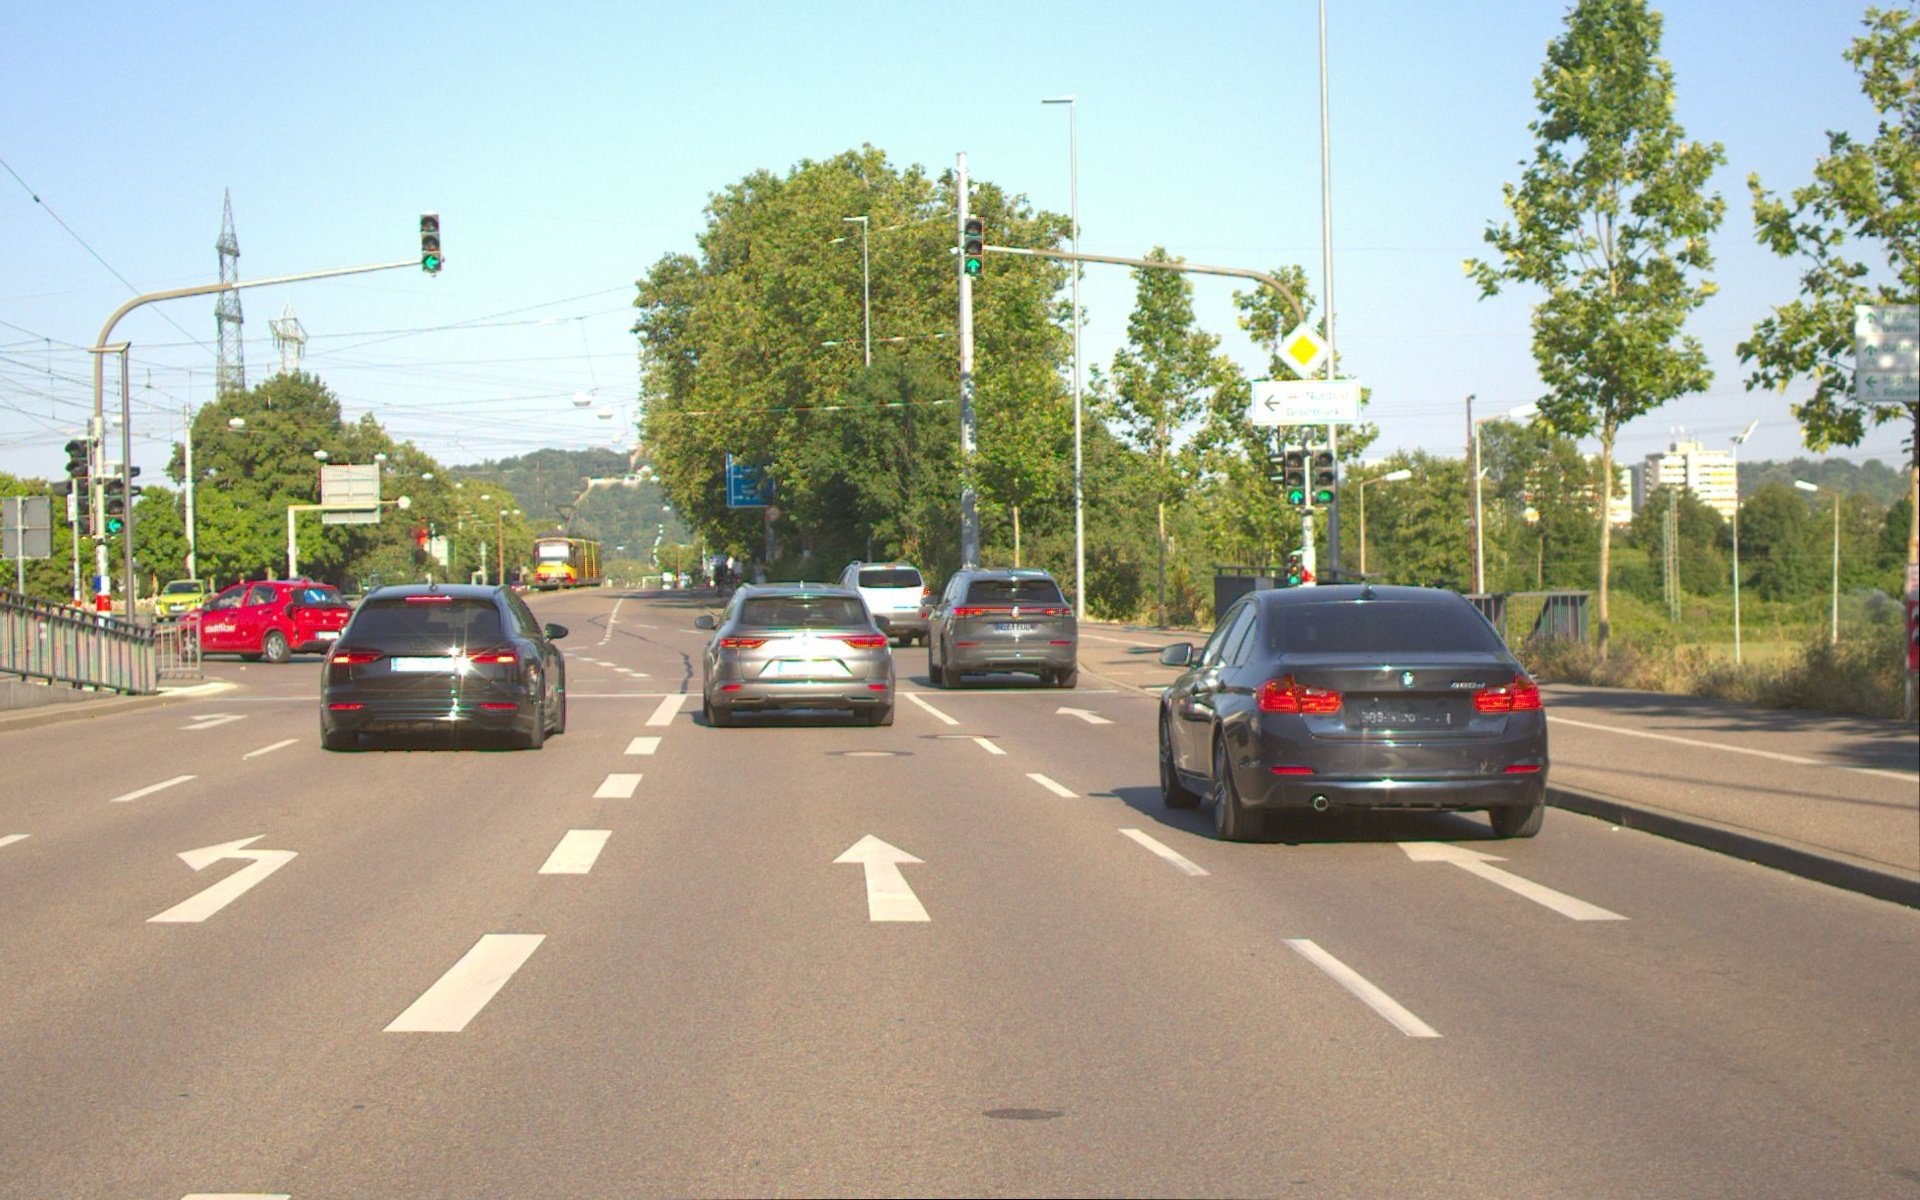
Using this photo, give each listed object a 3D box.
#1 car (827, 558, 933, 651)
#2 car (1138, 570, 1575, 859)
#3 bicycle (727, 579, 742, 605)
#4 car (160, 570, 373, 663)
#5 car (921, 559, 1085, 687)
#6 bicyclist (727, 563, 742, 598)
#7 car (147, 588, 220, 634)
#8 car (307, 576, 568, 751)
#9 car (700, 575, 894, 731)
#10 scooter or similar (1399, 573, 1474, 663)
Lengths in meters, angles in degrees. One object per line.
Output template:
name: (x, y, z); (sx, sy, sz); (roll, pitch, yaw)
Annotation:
car: (-1.658, 0.058, 69.988); (1.883, 1.789, 4.001); (1, 1, -5)
car: (2.205, 0.580, 20.366); (1.866, 1.462, 4.587); (-1, 1, -2)
bicycle: (-10.054, -0.351, 153.190); (0.622, 1.116, 1.813); (-2, 1, -4)
car: (-12.624, 0.304, 62.525); (3.581, 1.455, 1.767); (-4, 0, 37)
car: (0.542, 0.283, 47.417); (1.844, 1.655, 4.440); (0, 1, -5)
bicyclist: (-10.043, -0.869, 153.102); (0.685, 1.503, 0.891); (-1, 1, -4)
car: (-27.294, 0.370, 120.968); (1.783, 1.442, 4.108); (-2, 1, -3)
car: (-4.577, 0.517, 30.638); (1.915, 1.453, 4.092); (0, 0, -3)
car: (-1.714, 0.498, 35.562); (1.865, 1.462, 4.666); (1, 1, -3)
scooter or similar: (6.601, 0.245, 47.651); (0.523, 1.226, 1.267); (-2, 0, -17)
